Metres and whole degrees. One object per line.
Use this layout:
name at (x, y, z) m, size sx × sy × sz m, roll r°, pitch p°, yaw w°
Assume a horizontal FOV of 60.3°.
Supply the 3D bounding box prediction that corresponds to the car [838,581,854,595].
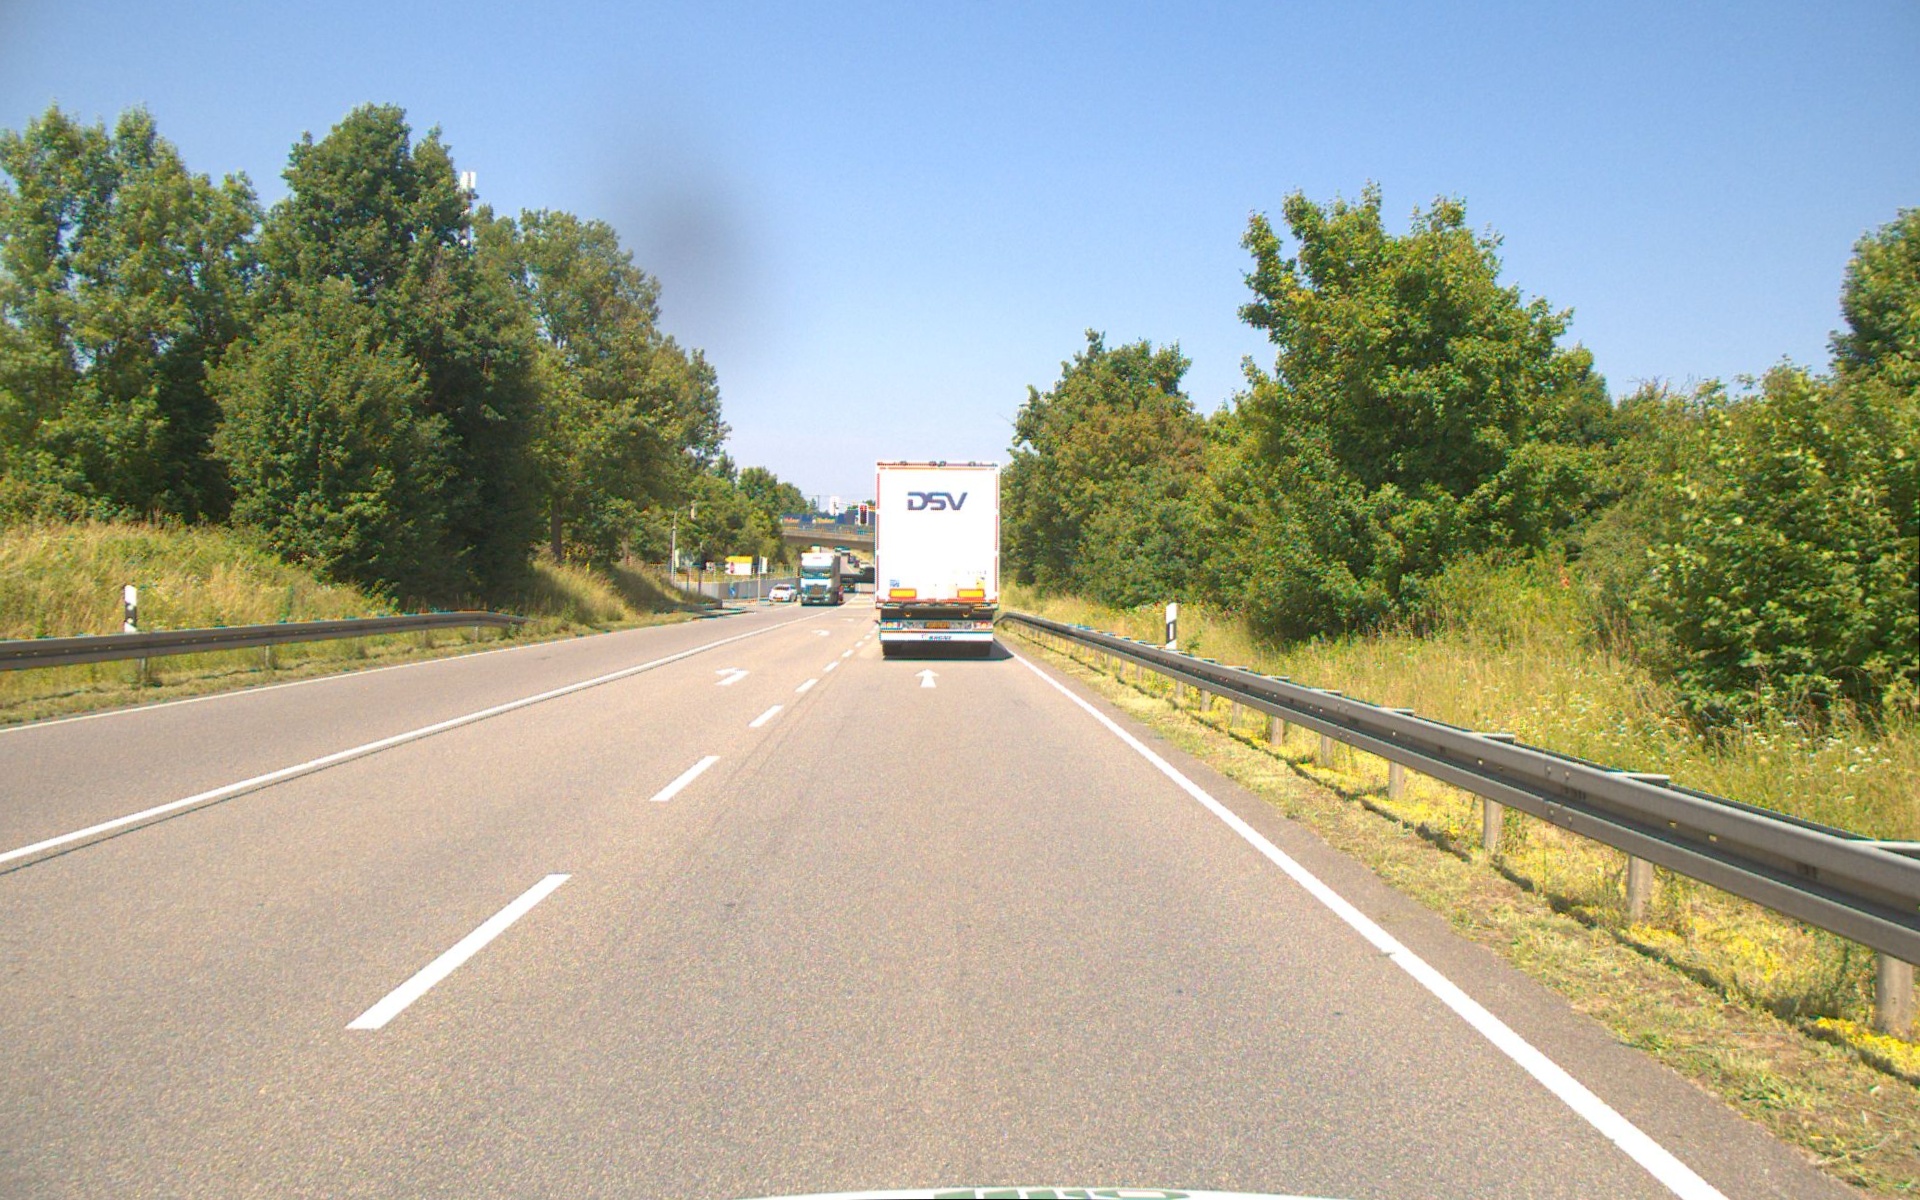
car at (-13.410, -1.426, 194.528) m, size 1.712 × 1.654 × 3.702 m, roll 0°, pitch 1°, yaw -2°

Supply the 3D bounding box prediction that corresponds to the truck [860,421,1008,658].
truck at (-0.556, -1.228, 37.539) m, size 2.890 × 4.648 × 9.861 m, roll 0°, pitch 0°, yaw -1°

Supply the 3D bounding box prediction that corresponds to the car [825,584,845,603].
car at (-11.412, -0.607, 151.146) m, size 1.712 × 1.654 × 3.702 m, roll 0°, pitch 1°, yaw -2°

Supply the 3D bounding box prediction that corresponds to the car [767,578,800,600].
car at (-15.414, -0.955, 144.632) m, size 1.763 × 1.904 × 4.424 m, roll 0°, pitch 1°, yaw 9°

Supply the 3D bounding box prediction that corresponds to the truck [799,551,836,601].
truck at (-11.403, -1.956, 133.368) m, size 2.306 × 3.815 × 12.621 m, roll 0°, pitch 1°, yaw -2°
